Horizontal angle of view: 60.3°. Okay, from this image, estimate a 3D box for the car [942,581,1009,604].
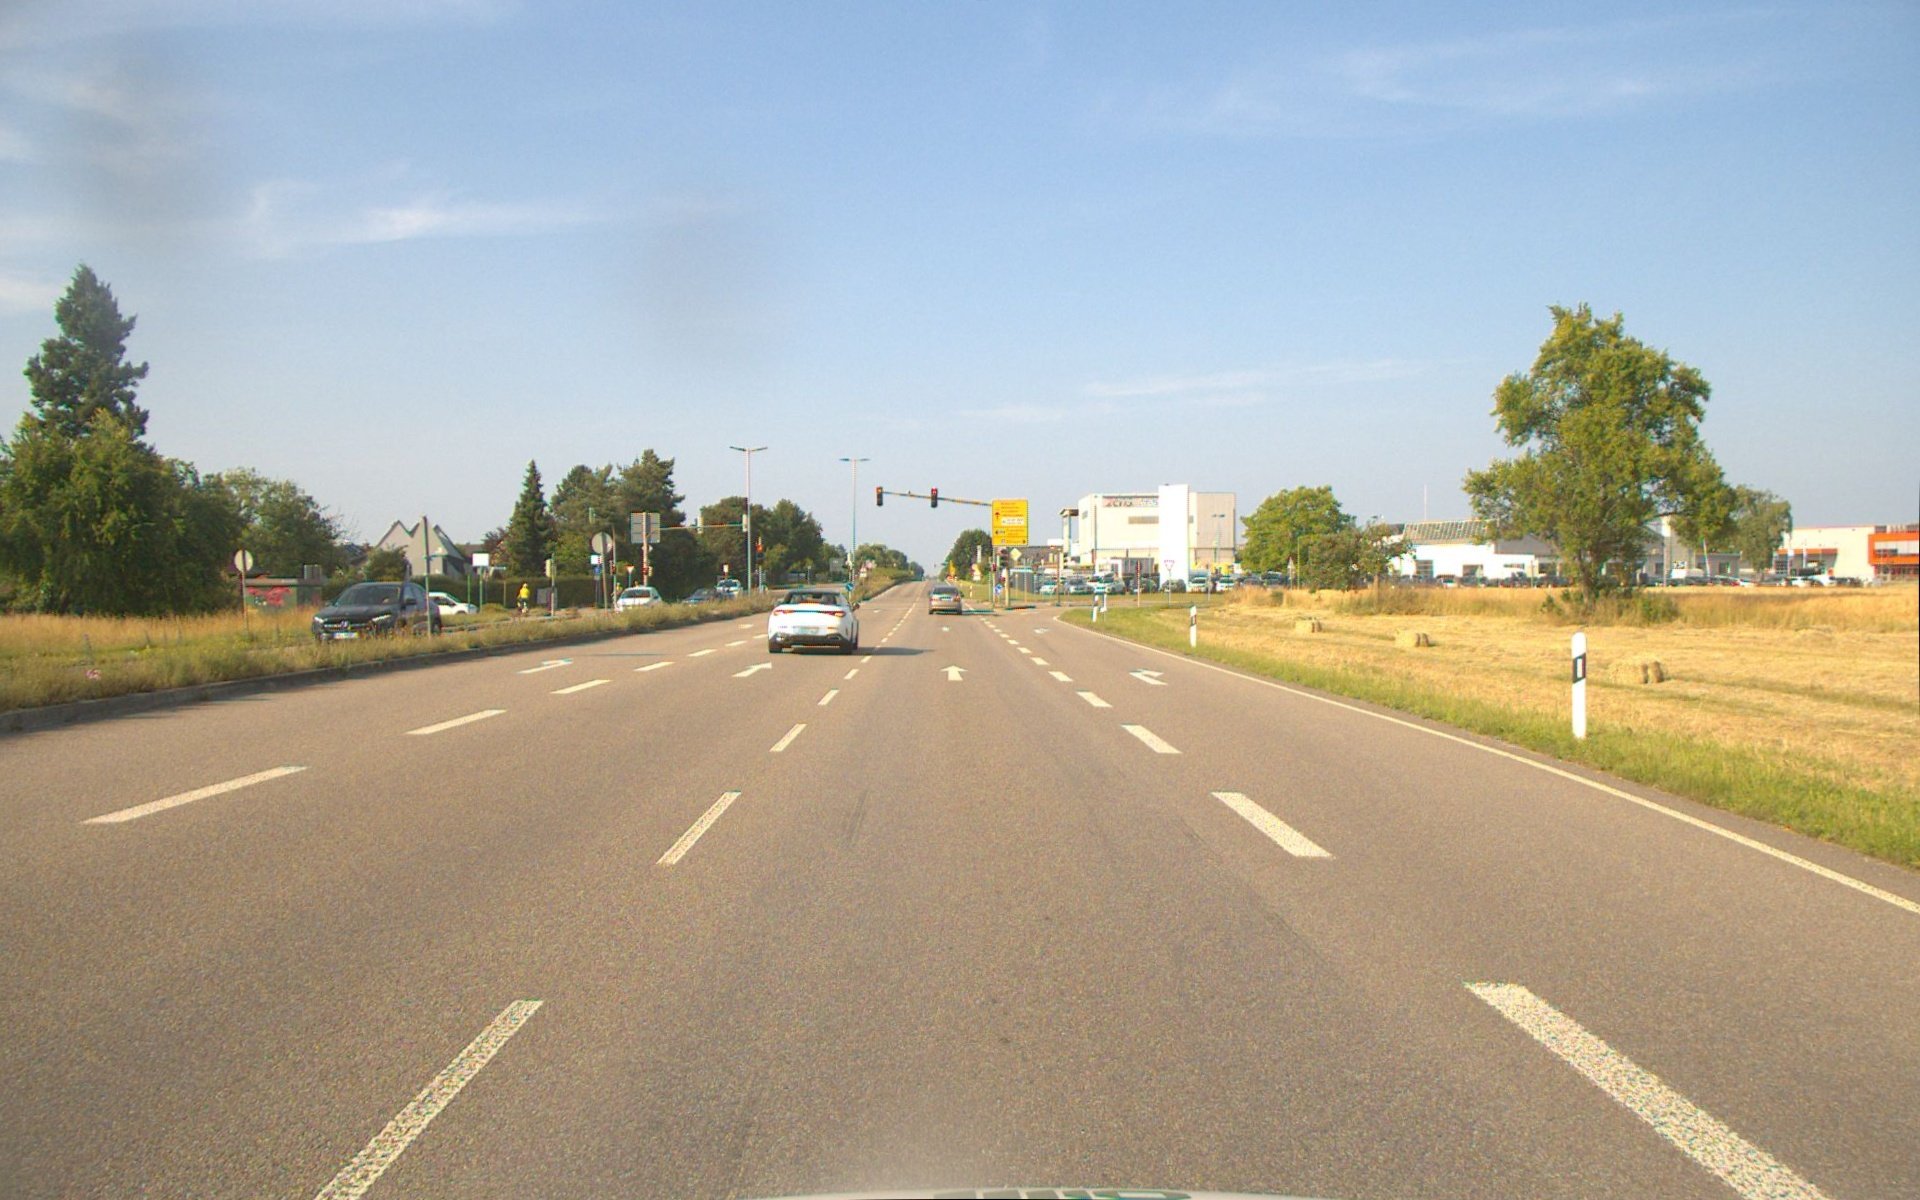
[{"bbox_3d":[0.995,-0.504,107.961,3.929,1.432,1.942,0,1,-21],"label":"car"}]

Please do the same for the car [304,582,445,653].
[{"bbox_3d":[-12.866,0.351,36.607,1.694,1.432,4.000,1,1,0],"label":"car"}]

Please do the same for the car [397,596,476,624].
[{"bbox_3d":[-30.351,0.572,95.984,4.107,1.548,1.996,1,1,-10],"label":"car"}]

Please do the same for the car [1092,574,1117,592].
[{"bbox_3d":[13.348,-1.577,153.272,1.952,1.673,4.000,1,1,0],"label":"car"}]

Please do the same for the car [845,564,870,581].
[{"bbox_3d":[-8.852,-2.385,143.638,1.908,1.432,4.000,1,1,0],"label":"car"}]

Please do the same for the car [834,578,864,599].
[{"bbox_3d":[-7.967,-0.842,119.139,1.908,1.432,4.000,1,1,0],"label":"car"}]

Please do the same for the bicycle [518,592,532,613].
[{"bbox_3d":[-23.226,0.130,88.239,0.399,1.032,1.602,-1,1,-4],"label":"bicycle"}]

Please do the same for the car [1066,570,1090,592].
[{"bbox_3d":[10.893,-1.783,153.046,1.952,2.049,4.000,1,1,0],"label":"car"}]

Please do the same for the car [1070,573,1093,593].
[{"bbox_3d":[11.545,-1.646,157.638,1.952,1.809,4.000,1,1,0],"label":"car"}]

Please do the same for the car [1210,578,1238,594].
[{"bbox_3d":[24.684,-1.278,154.578,1.952,1.422,4.000,1,1,0],"label":"car"}]

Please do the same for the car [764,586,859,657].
[{"bbox_3d":[-3.274,0.445,37.094,1.871,1.447,3.999,1,1,-2],"label":"car"}]

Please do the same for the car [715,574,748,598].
[{"bbox_3d":[-17.343,-1.079,125.727,1.908,1.831,4.000,1,1,0],"label":"car"}]

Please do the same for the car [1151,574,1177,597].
[{"bbox_3d":[19.064,-1.345,154.485,1.952,2.049,4.000,1,1,0],"label":"car"}]

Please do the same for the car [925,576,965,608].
[{"bbox_3d":[-0.808,-0.424,84.284,1.953,1.512,3.999,1,1,-2],"label":"car"}]

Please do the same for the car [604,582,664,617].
[{"bbox_3d":[-14.355,-0.050,73.045,1.953,1.422,3.999,1,1,-2],"label":"car"}]

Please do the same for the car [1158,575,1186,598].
[{"bbox_3d":[18.969,-1.230,148.156,1.952,2.049,4.000,1,1,0],"label":"car"}]

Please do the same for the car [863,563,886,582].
[{"bbox_3d":[-8.153,-2.603,157.914,1.908,1.803,4.000,1,1,0],"label":"car"}]

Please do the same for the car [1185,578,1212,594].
[{"bbox_3d":[22.194,-1.304,154.326,1.952,1.467,4.000,1,1,0],"label":"car"}]

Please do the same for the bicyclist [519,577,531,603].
[{"bbox_3d":[-23.214,-0.553,88.259,0.447,1.375,0.551,-1,1,-4],"label":"bicyclist"}]

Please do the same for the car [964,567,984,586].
[{"bbox_3d":[1.331,-2.290,158.043,1.952,1.787,4.000,1,1,0],"label":"car"}]

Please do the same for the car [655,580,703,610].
[{"bbox_3d":[-14.954,-0.296,88.112,1.953,1.512,3.999,1,1,-2],"label":"car"}]

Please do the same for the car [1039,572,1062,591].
[{"bbox_3d":[8.675,-1.769,158.322,1.952,1.809,4.000,1,1,0],"label":"car"}]
